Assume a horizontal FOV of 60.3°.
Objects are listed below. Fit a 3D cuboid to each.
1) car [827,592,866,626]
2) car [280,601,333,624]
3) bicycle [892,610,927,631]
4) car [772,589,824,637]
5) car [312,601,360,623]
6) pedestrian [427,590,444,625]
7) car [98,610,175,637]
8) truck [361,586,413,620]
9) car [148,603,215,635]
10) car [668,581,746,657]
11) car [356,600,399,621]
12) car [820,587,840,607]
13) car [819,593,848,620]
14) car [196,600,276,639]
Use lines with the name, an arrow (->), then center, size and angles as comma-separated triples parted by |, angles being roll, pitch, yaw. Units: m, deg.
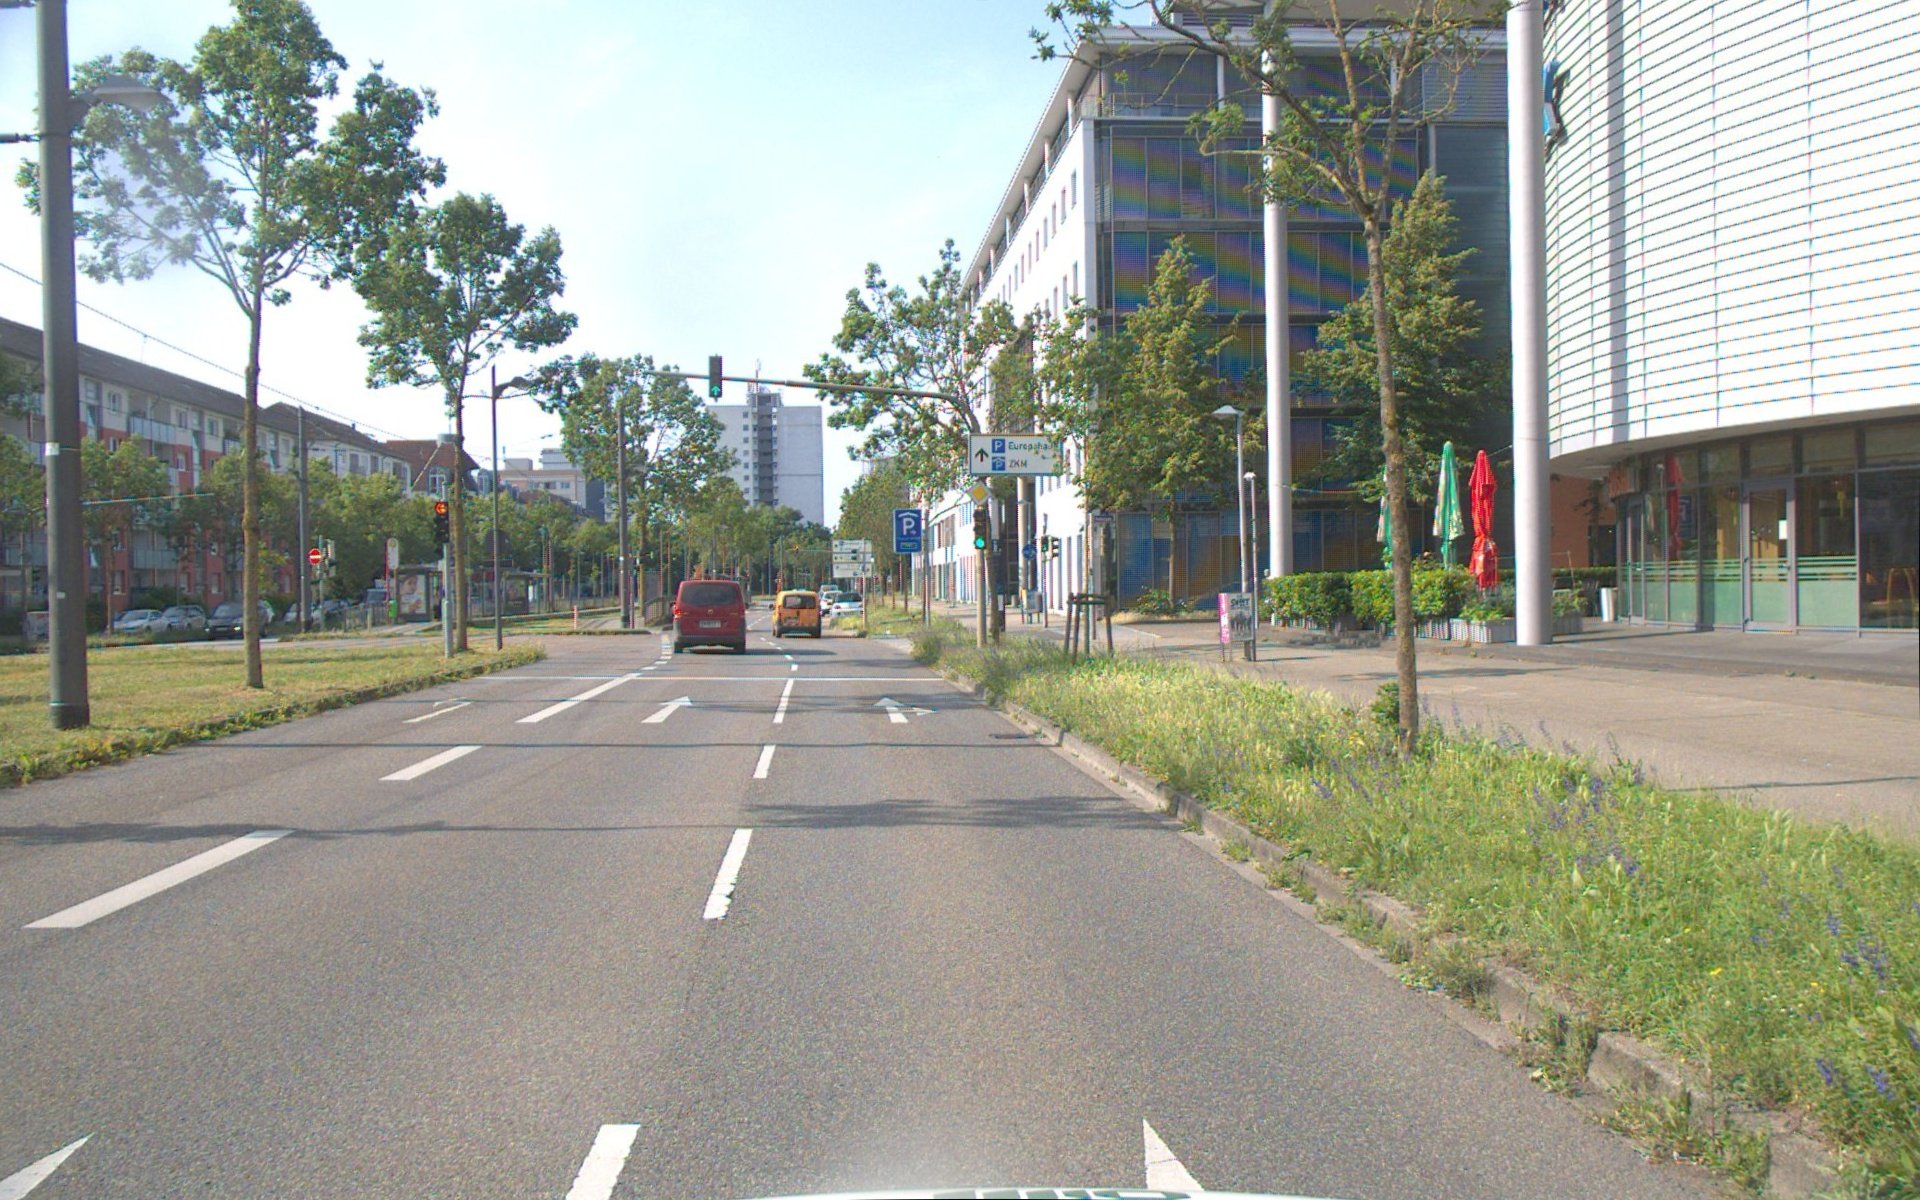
car -> -5.356, 0.391, 77.727 | 1.687, 1.545, 3.776 | -1, 0, -6
car -> -40.092, 0.755, 101.509 | 1.942, 1.384, 4.064 | 1, 0, -6
bicycle -> -1.930, 0.789, 63.773 | 1.245, 0.643, 0.521 | -7, 0, 2
car -> -6.014, 0.454, 61.648 | 1.839, 1.726, 3.970 | -1, 0, -4
car -> -40.400, 0.750, 107.171 | 1.942, 1.384, 4.064 | 1, 0, -6
pedestrian -> -25.819, 0.382, 81.485 | 0.659, 1.682, 0.793 | -1, 0, -10
car -> -37.848, 1.072, 76.081 | 1.798, 1.168, 4.159 | 1, 0, -6
truck -> -45.567, 0.260, 131.681 | 2.320, 2.607, 7.232 | -1, 0, -6
car -> -38.500, 0.913, 81.894 | 1.798, 1.497, 3.822 | 1, 0, -6
car -> -6.651, 0.463, 43.748 | 1.838, 1.886, 3.995 | -1, 0, -6
car -> -41.066, 0.740, 116.665 | 1.942, 1.384, 4.064 | 1, 0, -6
car -> -13.198, -0.310, 167.233 | 1.955, 2.049, 3.996 | -1, 0, -5
car -> -7.950, 0.371, 103.729 | 1.656, 1.552, 3.847 | -3, 1, -5
car -> -33.786, 0.881, 77.349 | 1.954, 1.736, 4.709 | -1, 0, -4
